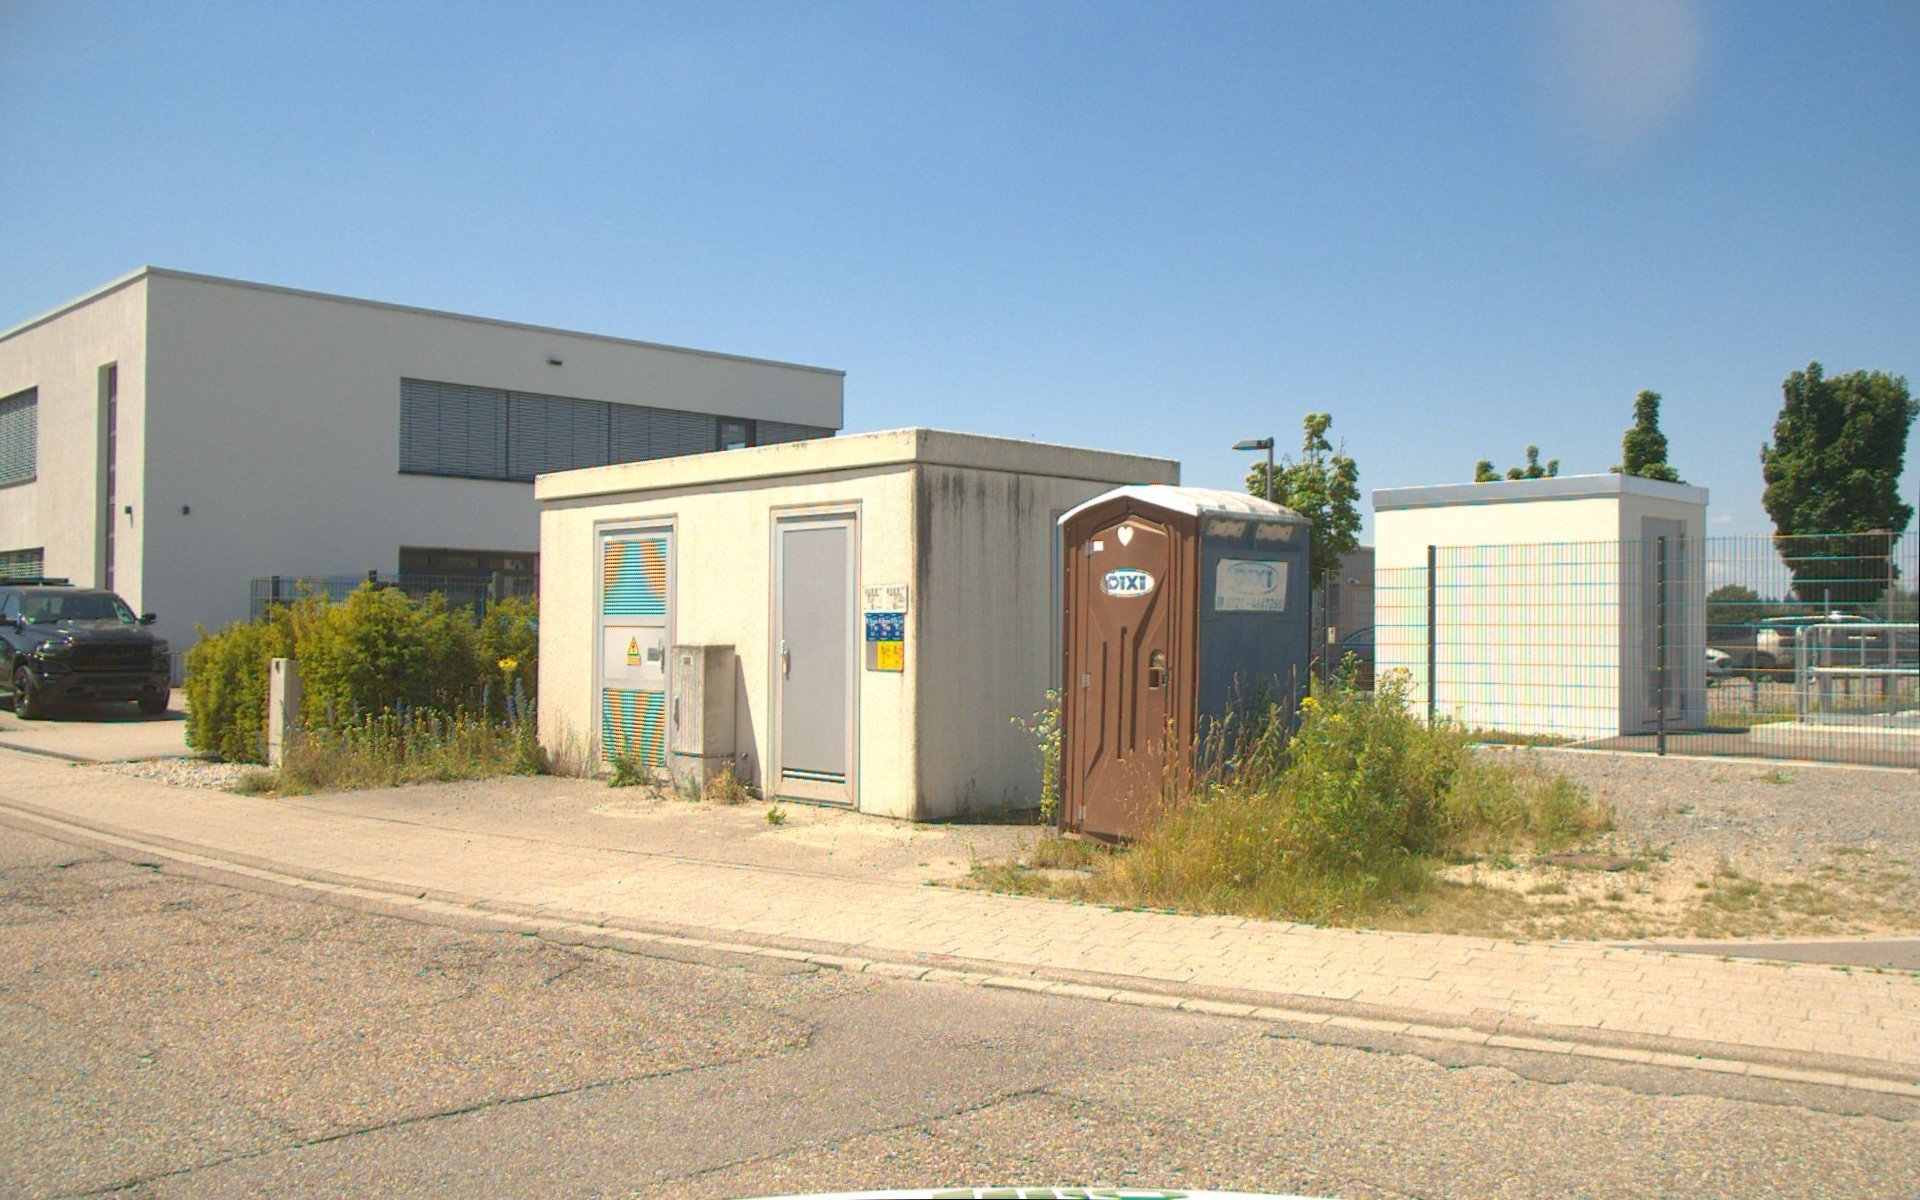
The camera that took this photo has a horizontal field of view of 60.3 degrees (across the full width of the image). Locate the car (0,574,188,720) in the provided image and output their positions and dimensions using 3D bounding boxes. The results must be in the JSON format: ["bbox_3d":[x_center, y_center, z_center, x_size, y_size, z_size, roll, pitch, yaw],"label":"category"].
[{"bbox_3d":[-14.683,0.649,26.936,5.704,2.048,1.986,2,1,45],"label":"car"}]

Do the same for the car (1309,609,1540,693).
[{"bbox_3d":[8.999,1.023,32.231,1.847,1.531,3.934,1,-3,-44],"label":"car"}]

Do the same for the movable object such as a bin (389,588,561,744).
[{"bbox_3d":[-5.096,0.664,17.396,1.151,1.549,1.378,-1,-1,45],"label":"movable object such as a bin"}]

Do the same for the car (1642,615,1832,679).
[{"bbox_3d":[19.664,1.212,41.953,1.847,1.531,3.934,1,-3,-44],"label":"car"}]

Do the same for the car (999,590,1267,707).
[{"bbox_3d":[2.659,0.798,26.030,1.847,1.708,3.934,1,-3,-44],"label":"car"}]

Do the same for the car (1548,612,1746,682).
[{"bbox_3d":[16.332,1.144,39.444,1.847,1.531,3.934,1,-3,-44],"label":"car"}]
